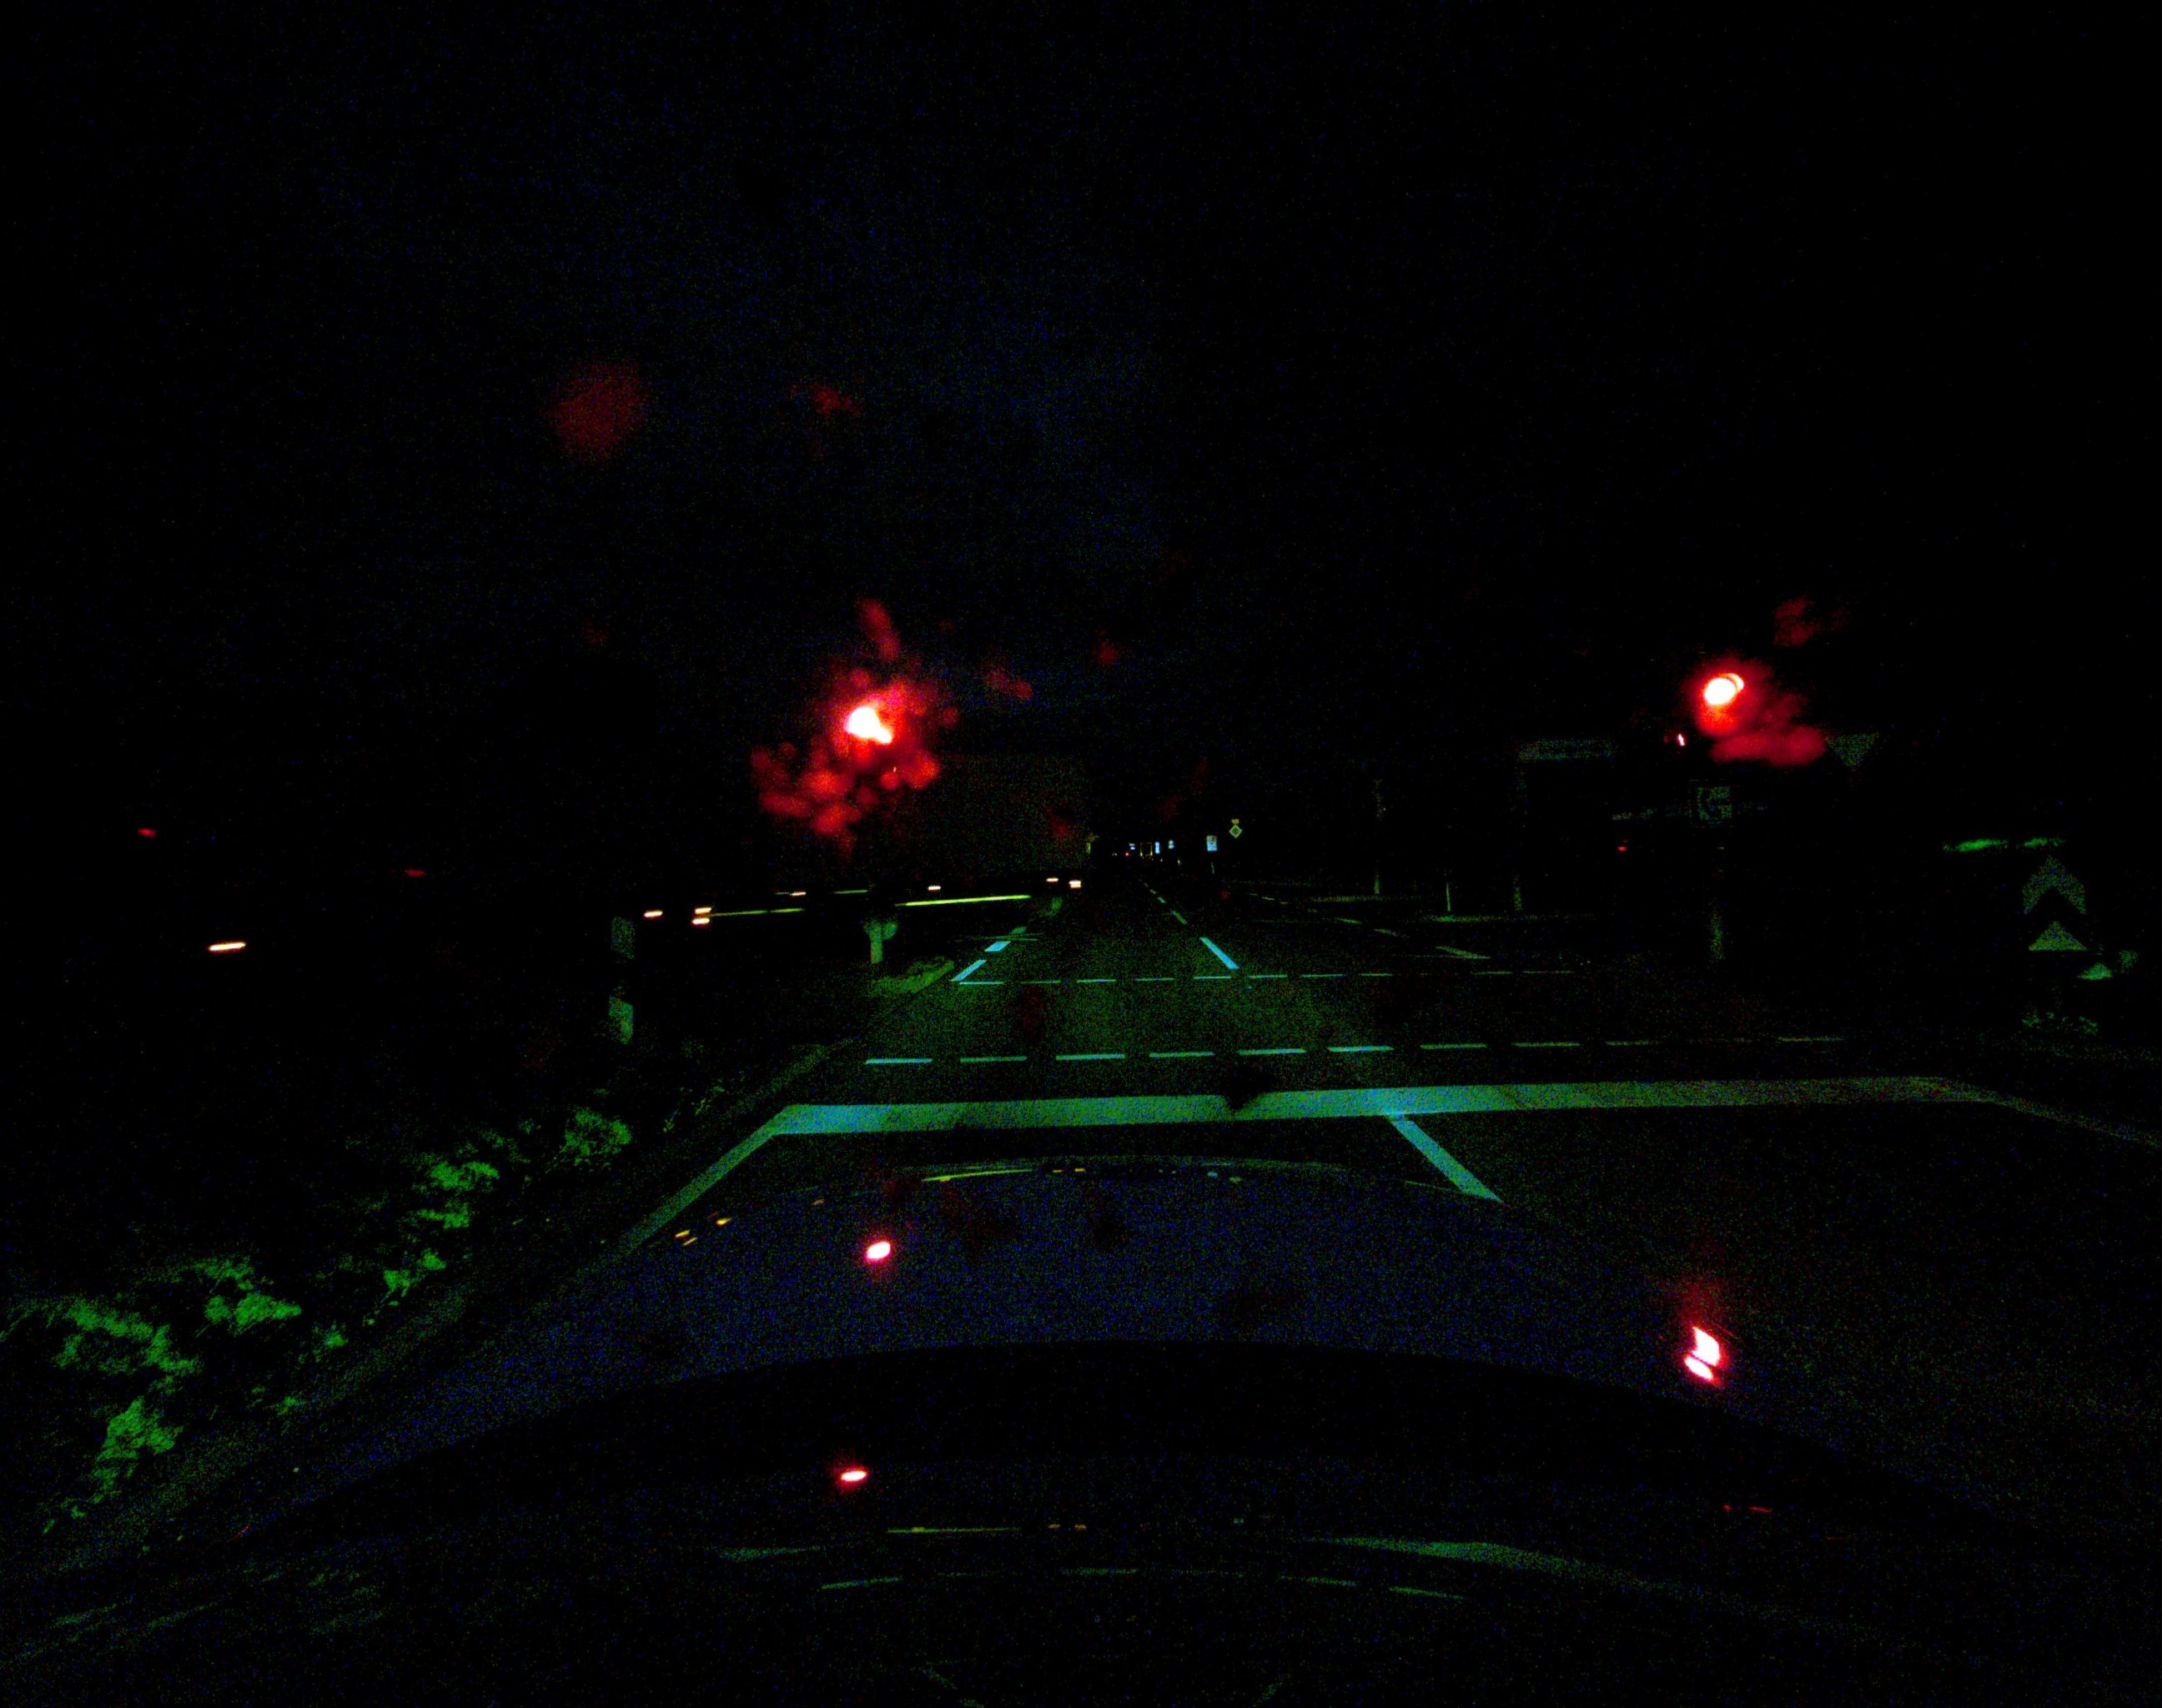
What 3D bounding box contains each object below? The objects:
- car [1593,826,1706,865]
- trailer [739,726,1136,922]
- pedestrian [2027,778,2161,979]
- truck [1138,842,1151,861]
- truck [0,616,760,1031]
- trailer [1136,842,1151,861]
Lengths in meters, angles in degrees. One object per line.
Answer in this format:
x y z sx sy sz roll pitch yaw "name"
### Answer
27.889 -0.409 40.033 4.419 1.664 2.013 -3 0 37 "car"
-3.252 -0.780 19.535 8.894 3.943 2.563 -3 0 -26 "trailer"
10.750 0.250 8.546 0.775 2.014 0.714 0 -1 3 "pedestrian"
13.681 -0.566 174.965 2.569 4.071 6.133 -1 0 2 "truck"
-10.059 -0.297 12.241 2.700 4.117 10.409 -2 -1 28 "truck"
13.851 -0.524 181.167 2.612 4.104 12.944 -2 0 2 "trailer"
